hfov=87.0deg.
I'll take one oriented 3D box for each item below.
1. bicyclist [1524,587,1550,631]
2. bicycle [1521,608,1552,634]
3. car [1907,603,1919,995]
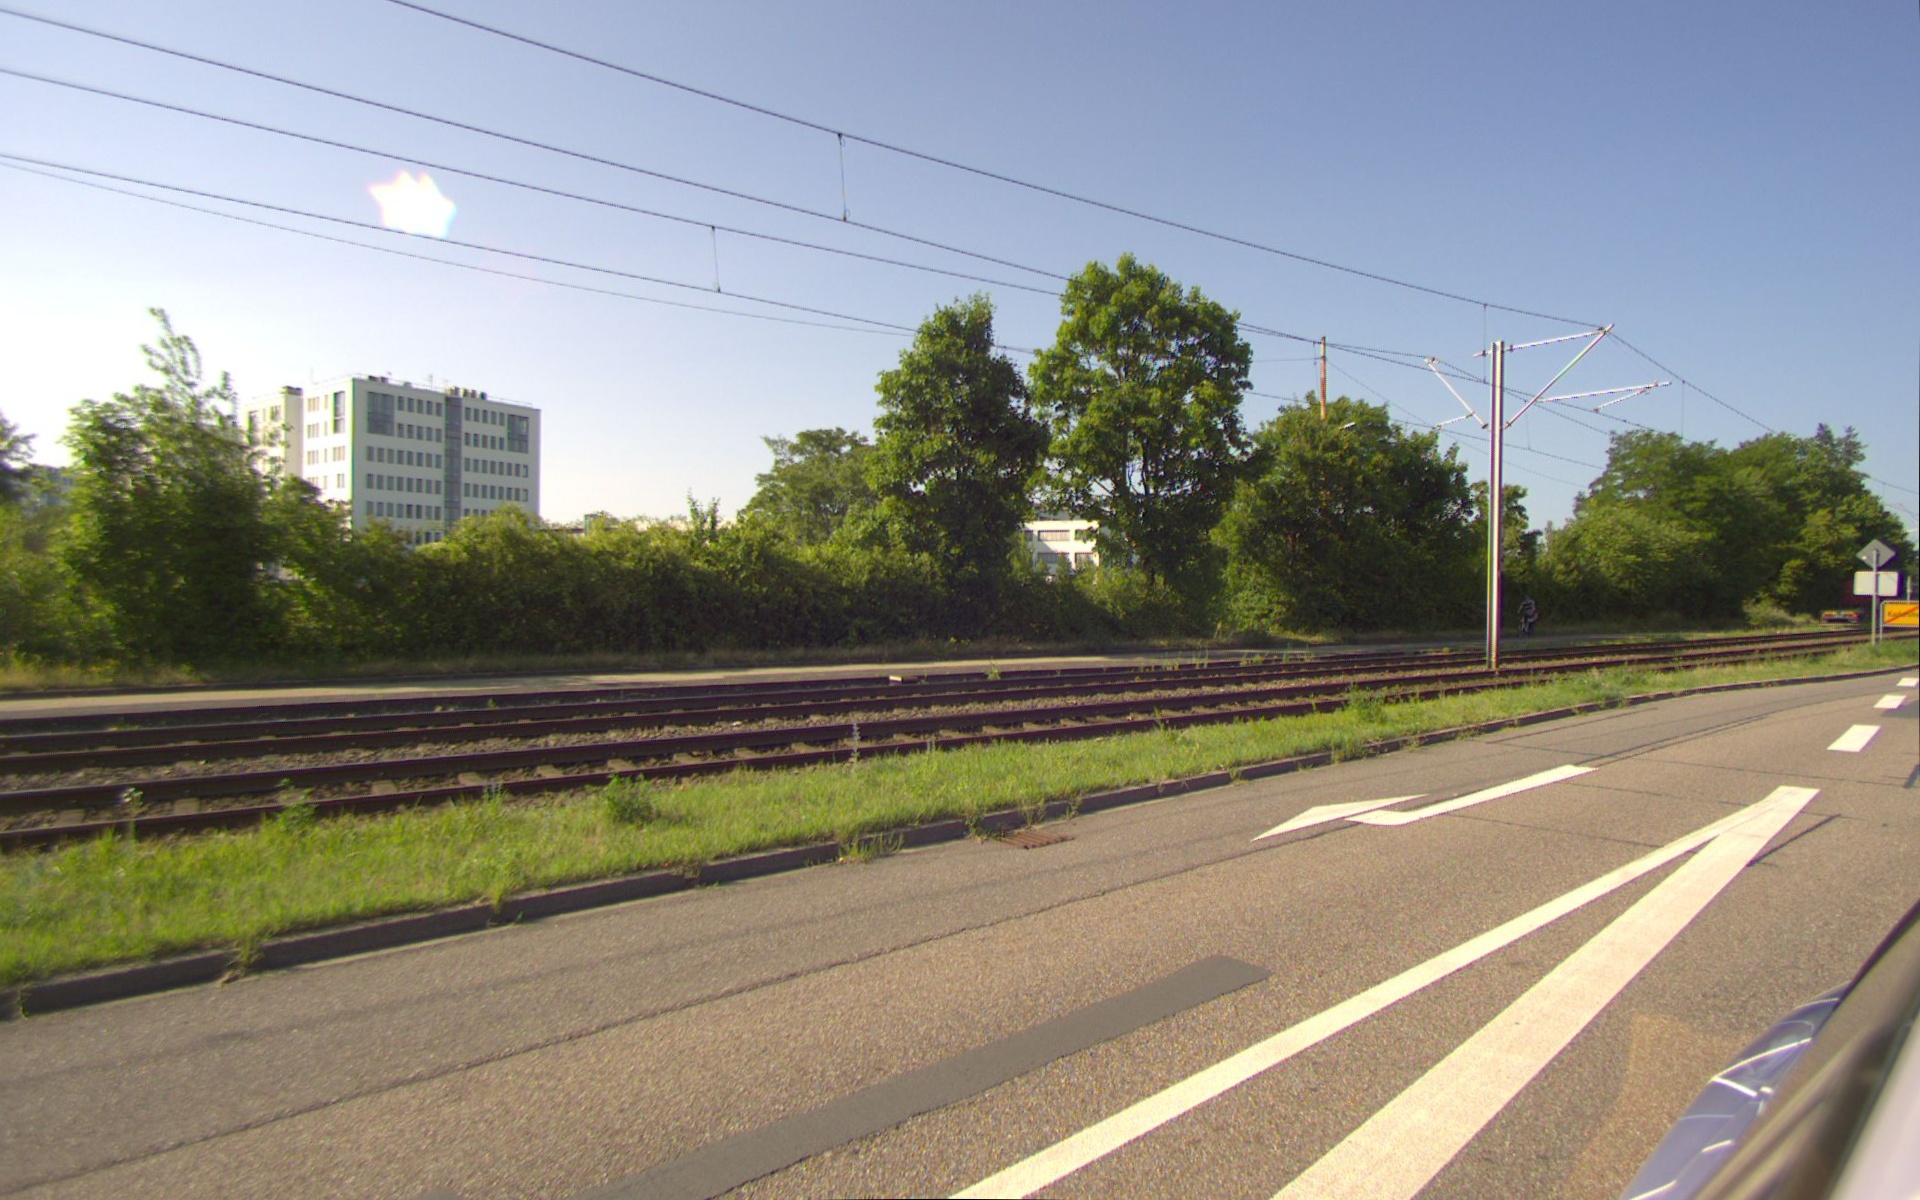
[{"bbox_3d":[24.605,0.385,43.154,0.704,1.830,0.708,0,0,-39],"label":"bicyclist"},{"bbox_3d":[24.586,0.878,43.158,1.840,1.060,0.546,0,1,-40],"label":"bicycle"},{"bbox_3d":[5.756,0.731,4.495,4.383,1.442,1.819,0,0,-41],"label":"car"}]
